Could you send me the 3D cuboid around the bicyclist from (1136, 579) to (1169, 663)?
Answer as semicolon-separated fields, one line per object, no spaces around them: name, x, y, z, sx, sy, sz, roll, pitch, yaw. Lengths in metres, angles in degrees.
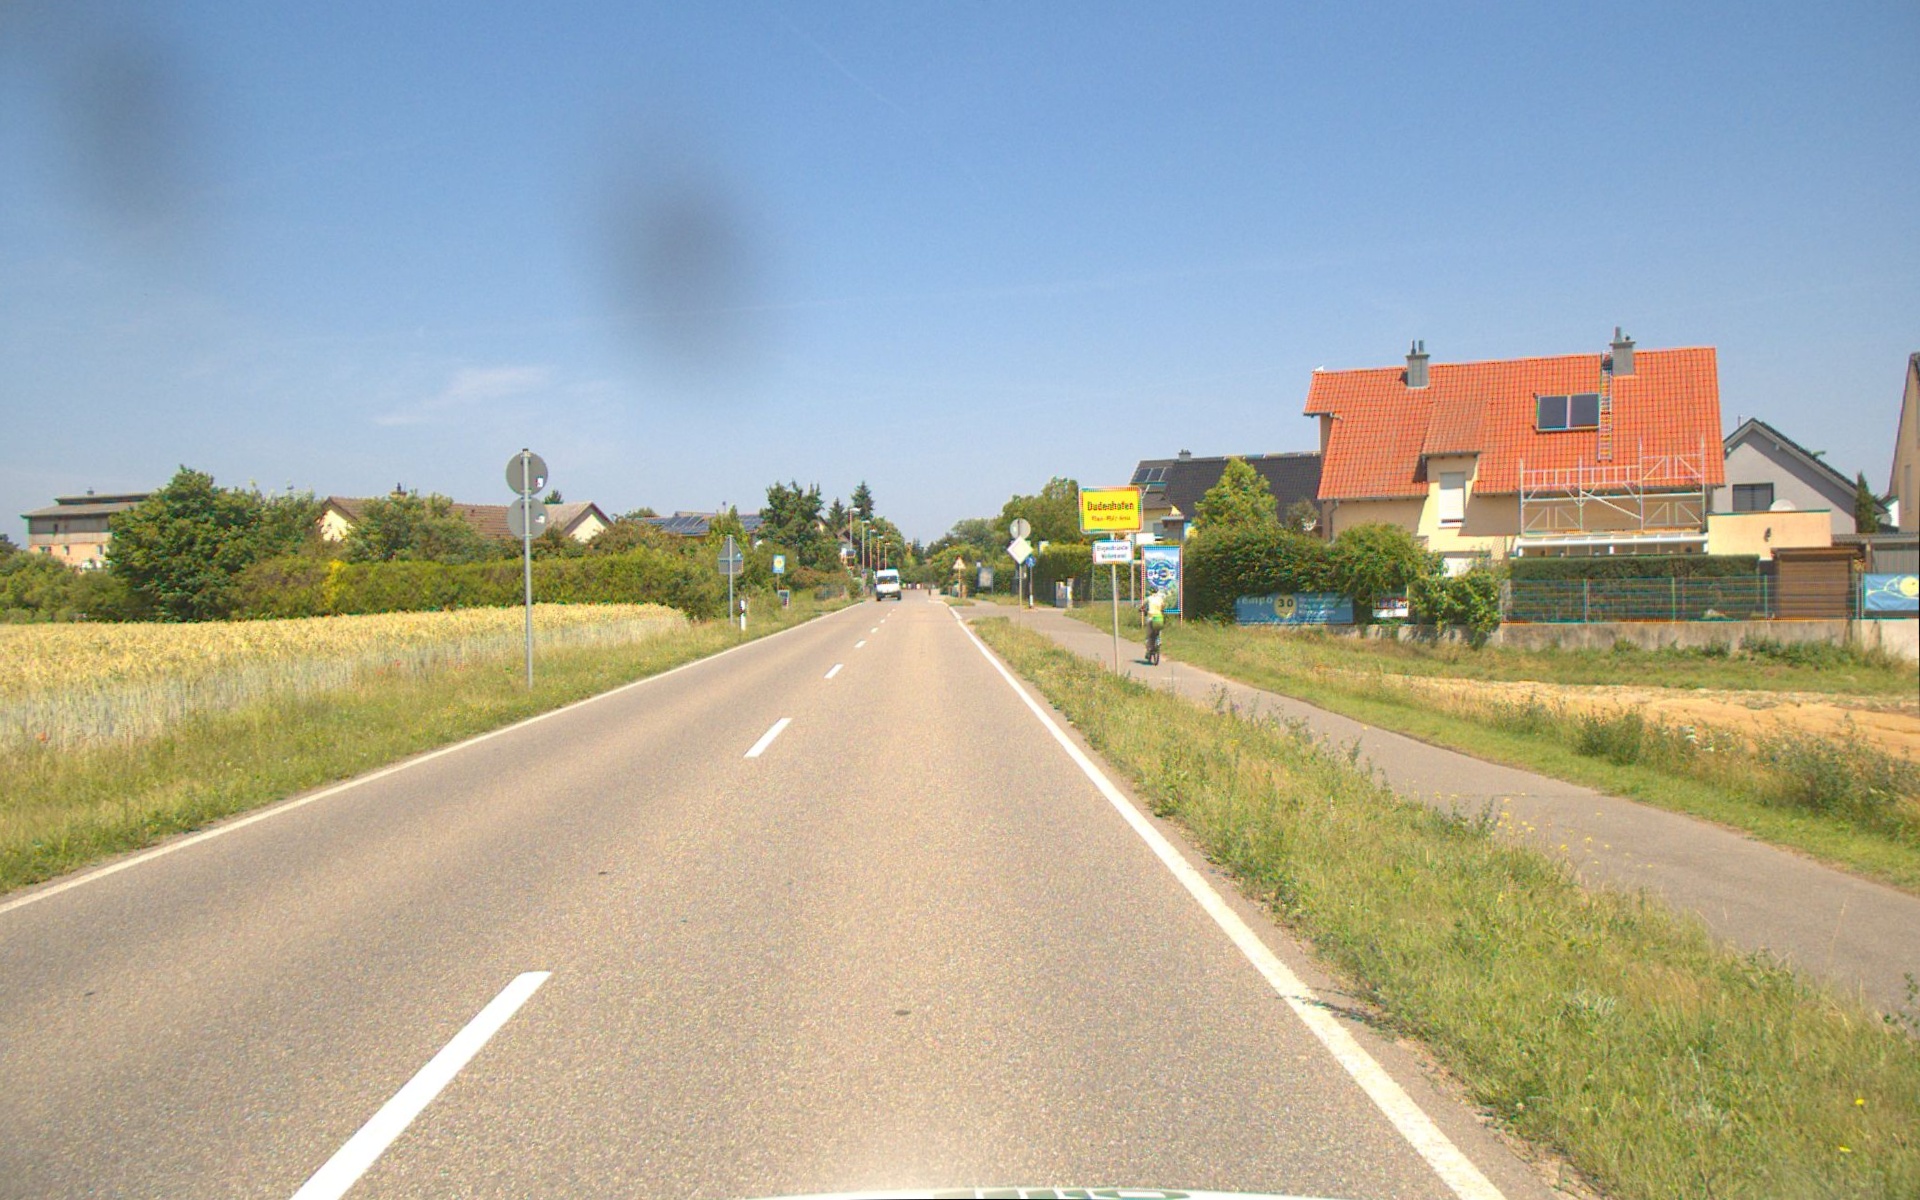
bicyclist;4.502;0.472;38.707;0.632;1.922;0.860;1;1;-2

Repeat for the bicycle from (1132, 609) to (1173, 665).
bicycle;4.496;0.845;38.701;0.598;1.179;2.273;1;1;-2

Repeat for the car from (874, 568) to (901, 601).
car;-5.929;-1.301;135.683;2.035;2.586;5.871;-2;1;-2
